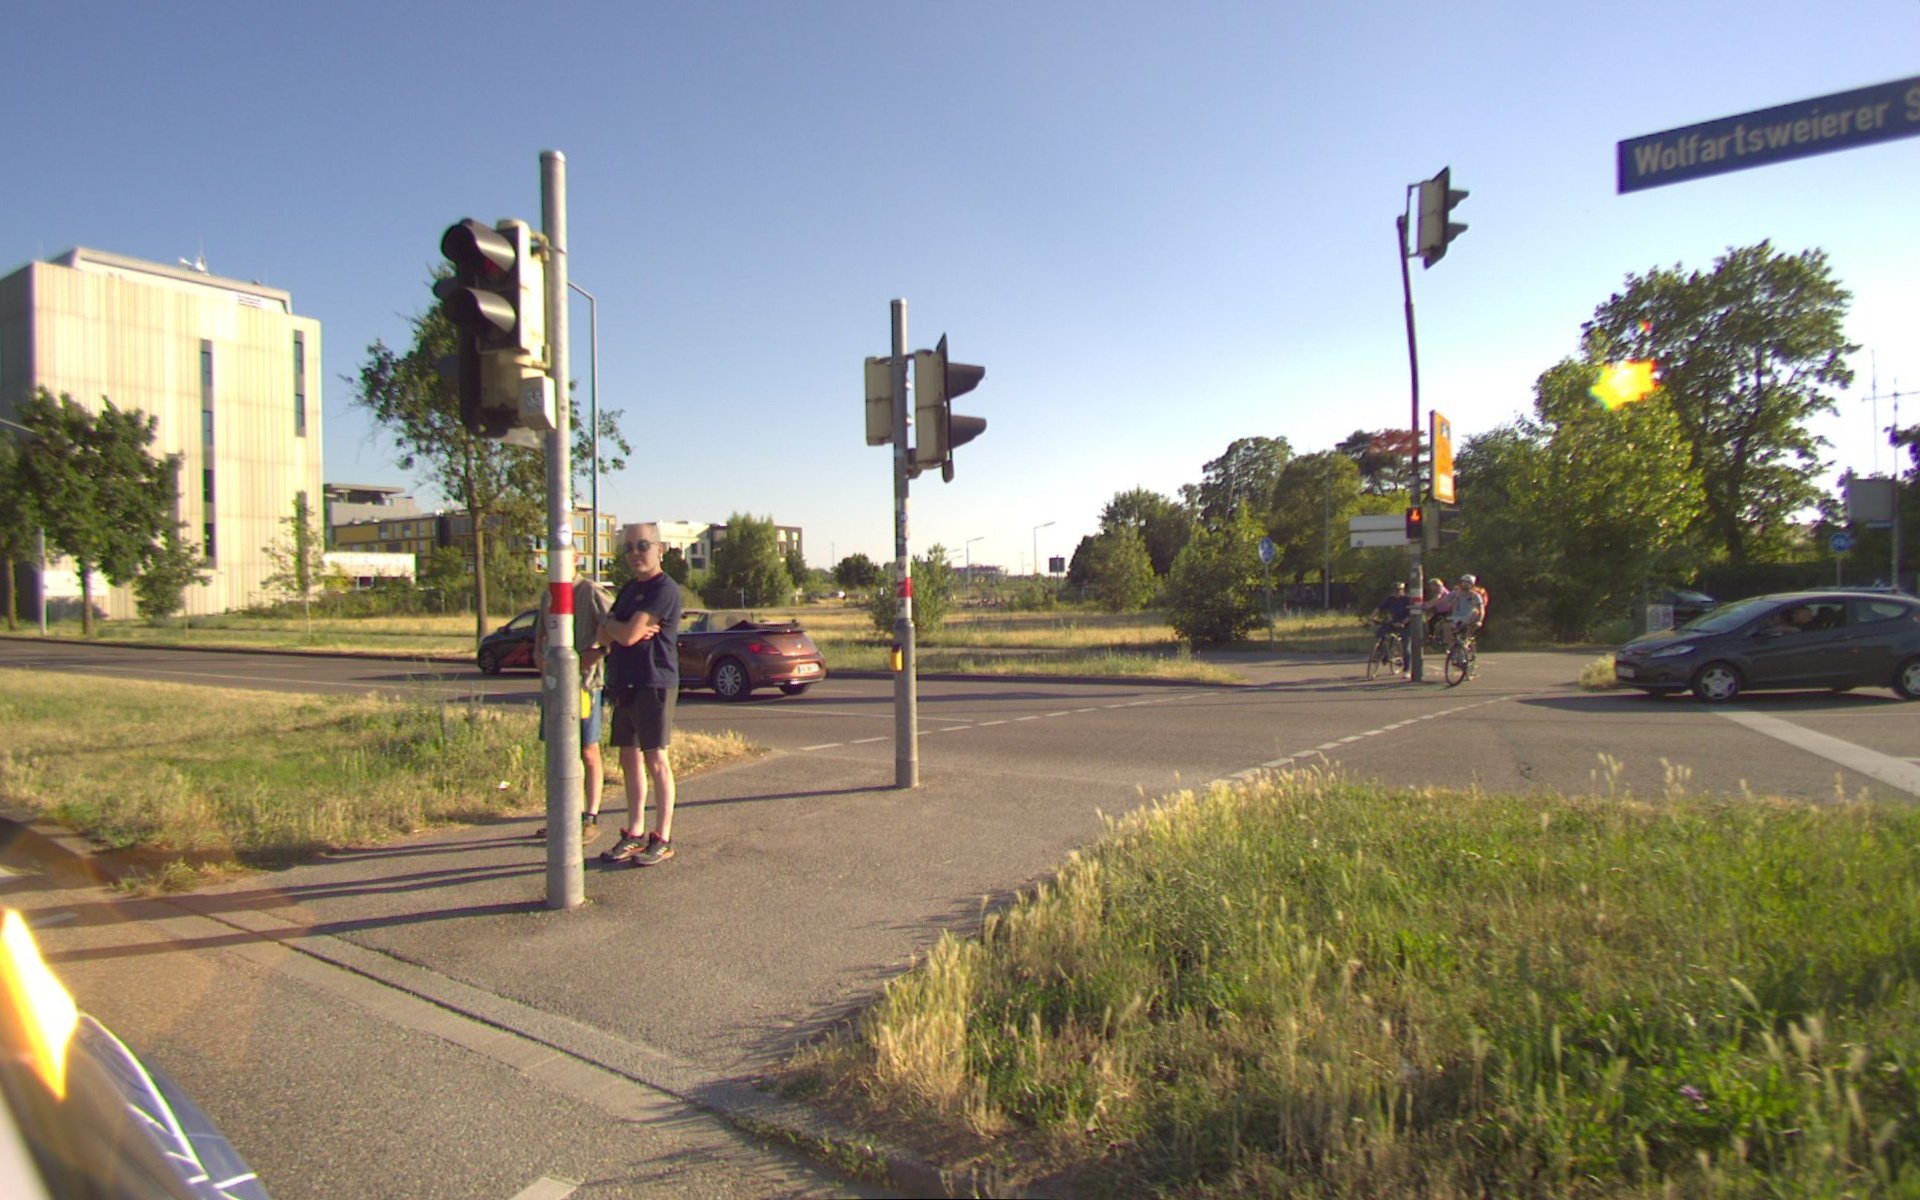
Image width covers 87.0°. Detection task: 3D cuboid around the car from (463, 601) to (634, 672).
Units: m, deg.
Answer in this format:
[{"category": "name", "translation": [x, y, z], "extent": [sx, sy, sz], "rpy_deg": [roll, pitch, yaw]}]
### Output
[{"category": "car", "translation": [-9.139, 0.780, 22.433], "extent": [3.600, 1.452, 1.656], "rpy_deg": [-1, -1, 29]}]

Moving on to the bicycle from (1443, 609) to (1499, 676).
[{"category": "bicycle", "translation": [8.960, 0.719, 17.709], "extent": [0.504, 1.027, 1.890], "rpy_deg": [0, 2, 38]}]

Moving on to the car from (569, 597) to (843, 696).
[{"category": "car", "translation": [-4.029, 0.686, 15.950], "extent": [4.126, 1.386, 1.658], "rpy_deg": [-1, -1, 26]}]

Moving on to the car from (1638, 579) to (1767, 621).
[{"category": "car", "translation": [28.505, -0.004, 38.989], "extent": [1.845, 1.519, 3.717], "rpy_deg": [-1, 0, -11]}]

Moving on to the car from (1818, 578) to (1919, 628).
[{"category": "car", "translation": [29.938, 0.085, 32.167], "extent": [1.845, 1.519, 3.717], "rpy_deg": [-1, 0, -11]}]

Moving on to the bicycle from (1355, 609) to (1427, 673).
[{"category": "bicycle", "translation": [7.924, 0.730, 18.561], "extent": [1.886, 1.027, 0.505], "rpy_deg": [-3, 2, -43]}]

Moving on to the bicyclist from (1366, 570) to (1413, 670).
[{"category": "bicyclist", "translation": [7.856, 0.347, 18.489], "extent": [0.803, 1.784, 0.497], "rpy_deg": [-3, 2, -43]}]

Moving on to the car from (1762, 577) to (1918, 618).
[{"category": "car", "translation": [35.020, -0.100, 40.383], "extent": [1.843, 1.519, 4.321], "rpy_deg": [-1, 0, -30]}]

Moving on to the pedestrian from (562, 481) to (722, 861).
[{"category": "pedestrian", "translation": [-1.672, 0.345, 5.329], "extent": [0.670, 1.858, 0.481], "rpy_deg": [0, 0, 35]}]

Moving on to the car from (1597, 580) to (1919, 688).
[{"category": "car", "translation": [11.394, 0.455, 14.081], "extent": [3.907, 1.386, 1.667], "rpy_deg": [-1, -1, 10]}]

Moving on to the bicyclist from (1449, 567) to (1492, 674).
[{"category": "bicyclist", "translation": [8.888, 0.343, 17.609], "extent": [0.496, 1.802, 0.805], "rpy_deg": [0, 2, 39]}]

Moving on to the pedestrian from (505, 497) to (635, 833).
[{"category": "pedestrian", "translation": [-2.327, 0.355, 6.015], "extent": [0.479, 1.857, 0.721], "rpy_deg": [-2, 1, -37]}]

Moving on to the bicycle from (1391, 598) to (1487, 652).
[{"category": "bicycle", "translation": [10.351, 0.523, 21.873], "extent": [1.793, 1.127, 0.727], "rpy_deg": [0, 1, -11]}]

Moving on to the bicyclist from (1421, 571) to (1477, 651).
[{"category": "bicyclist", "translation": [10.577, 0.227, 21.914], "extent": [0.817, 1.679, 0.712], "rpy_deg": [-1, 0, -12]}]
